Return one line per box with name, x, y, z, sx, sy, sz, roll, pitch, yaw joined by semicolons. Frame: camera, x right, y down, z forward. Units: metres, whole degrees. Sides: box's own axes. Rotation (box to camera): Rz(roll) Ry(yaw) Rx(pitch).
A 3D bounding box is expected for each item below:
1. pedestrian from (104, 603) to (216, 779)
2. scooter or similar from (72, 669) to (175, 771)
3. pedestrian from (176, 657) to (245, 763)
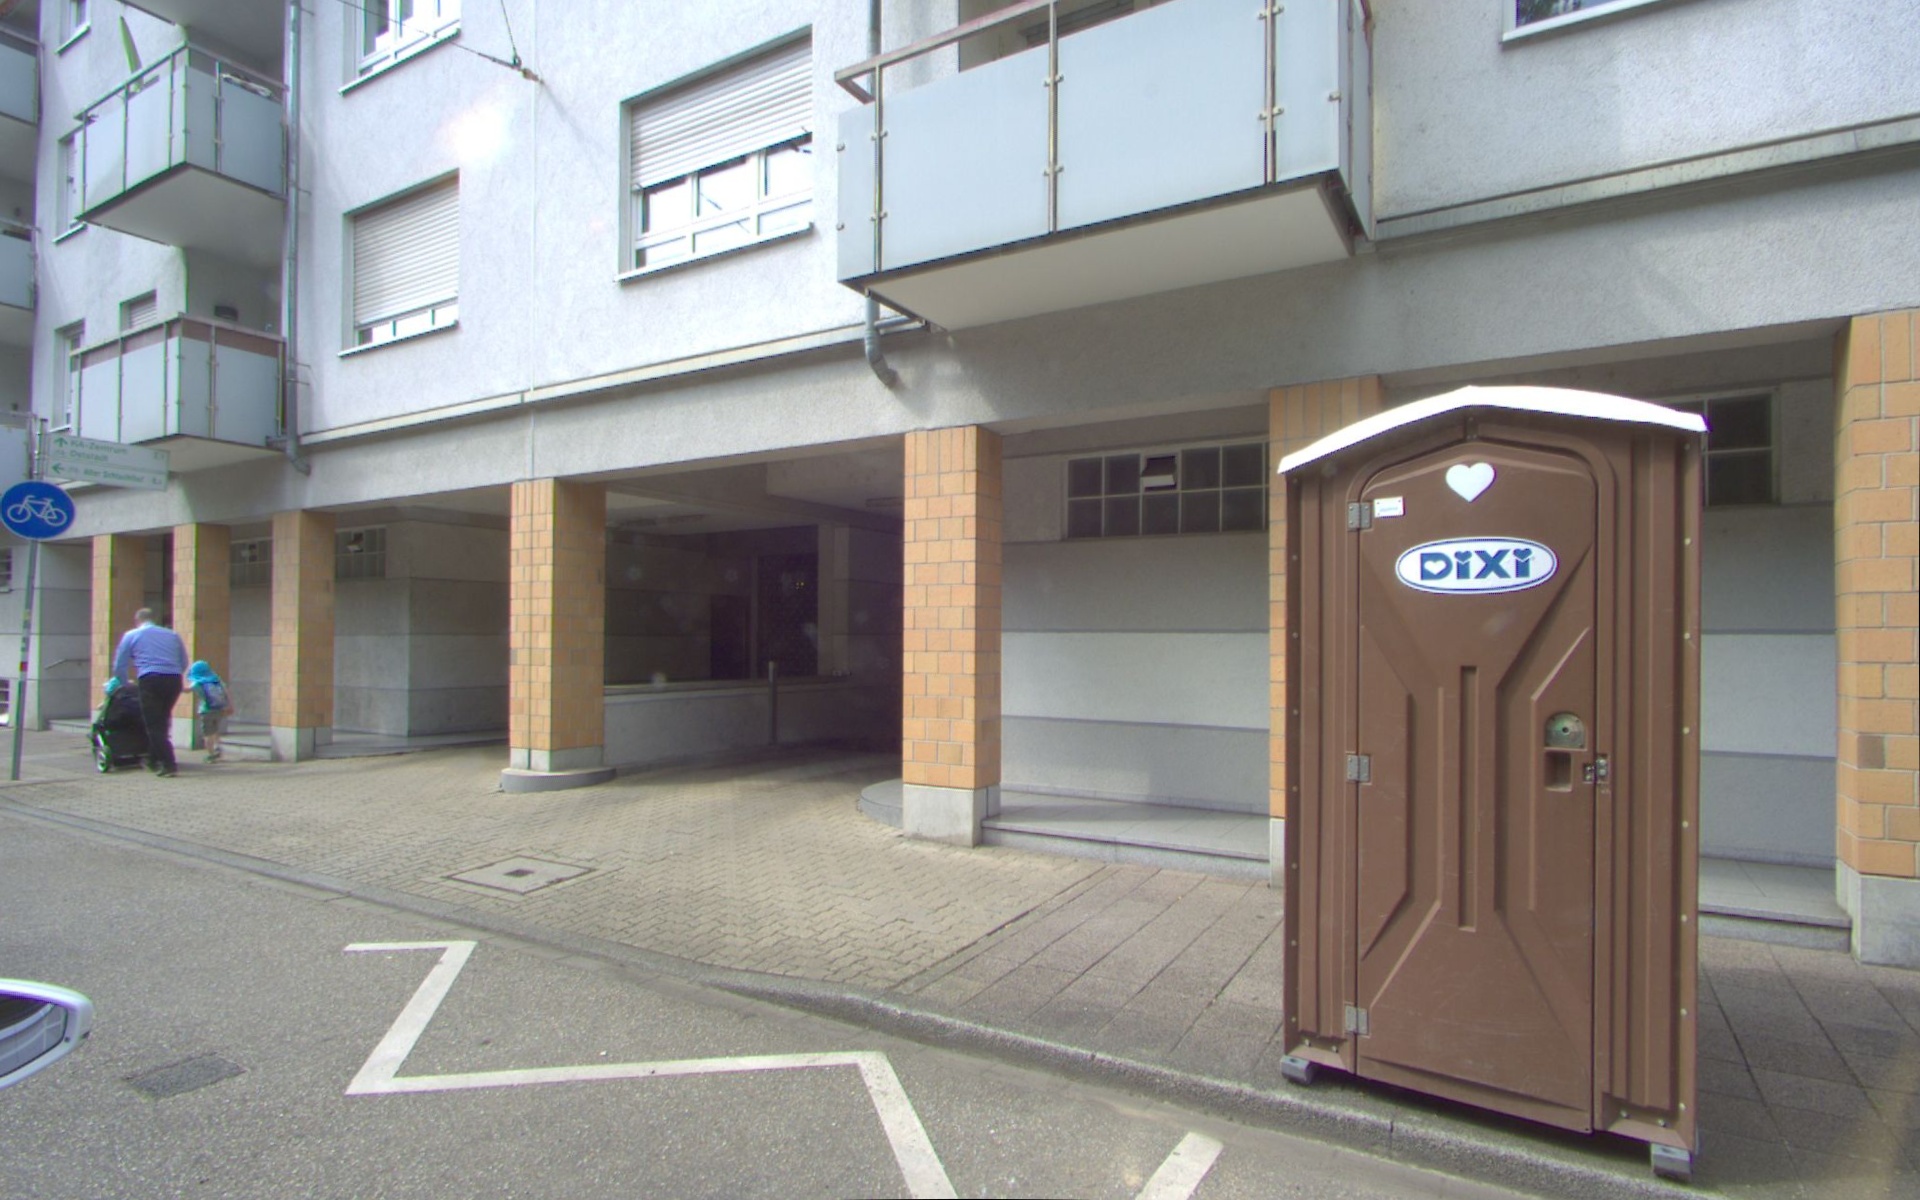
pedestrian;-8.495;0.932;10.637;0.865;1.762;0.619;0;2;32
scooter or similar;-9.286;1.306;11.119;0.893;1.016;0.591;-1;2;32
pedestrian;-8.582;1.243;11.476;0.487;1.150;0.455;0;2;32
